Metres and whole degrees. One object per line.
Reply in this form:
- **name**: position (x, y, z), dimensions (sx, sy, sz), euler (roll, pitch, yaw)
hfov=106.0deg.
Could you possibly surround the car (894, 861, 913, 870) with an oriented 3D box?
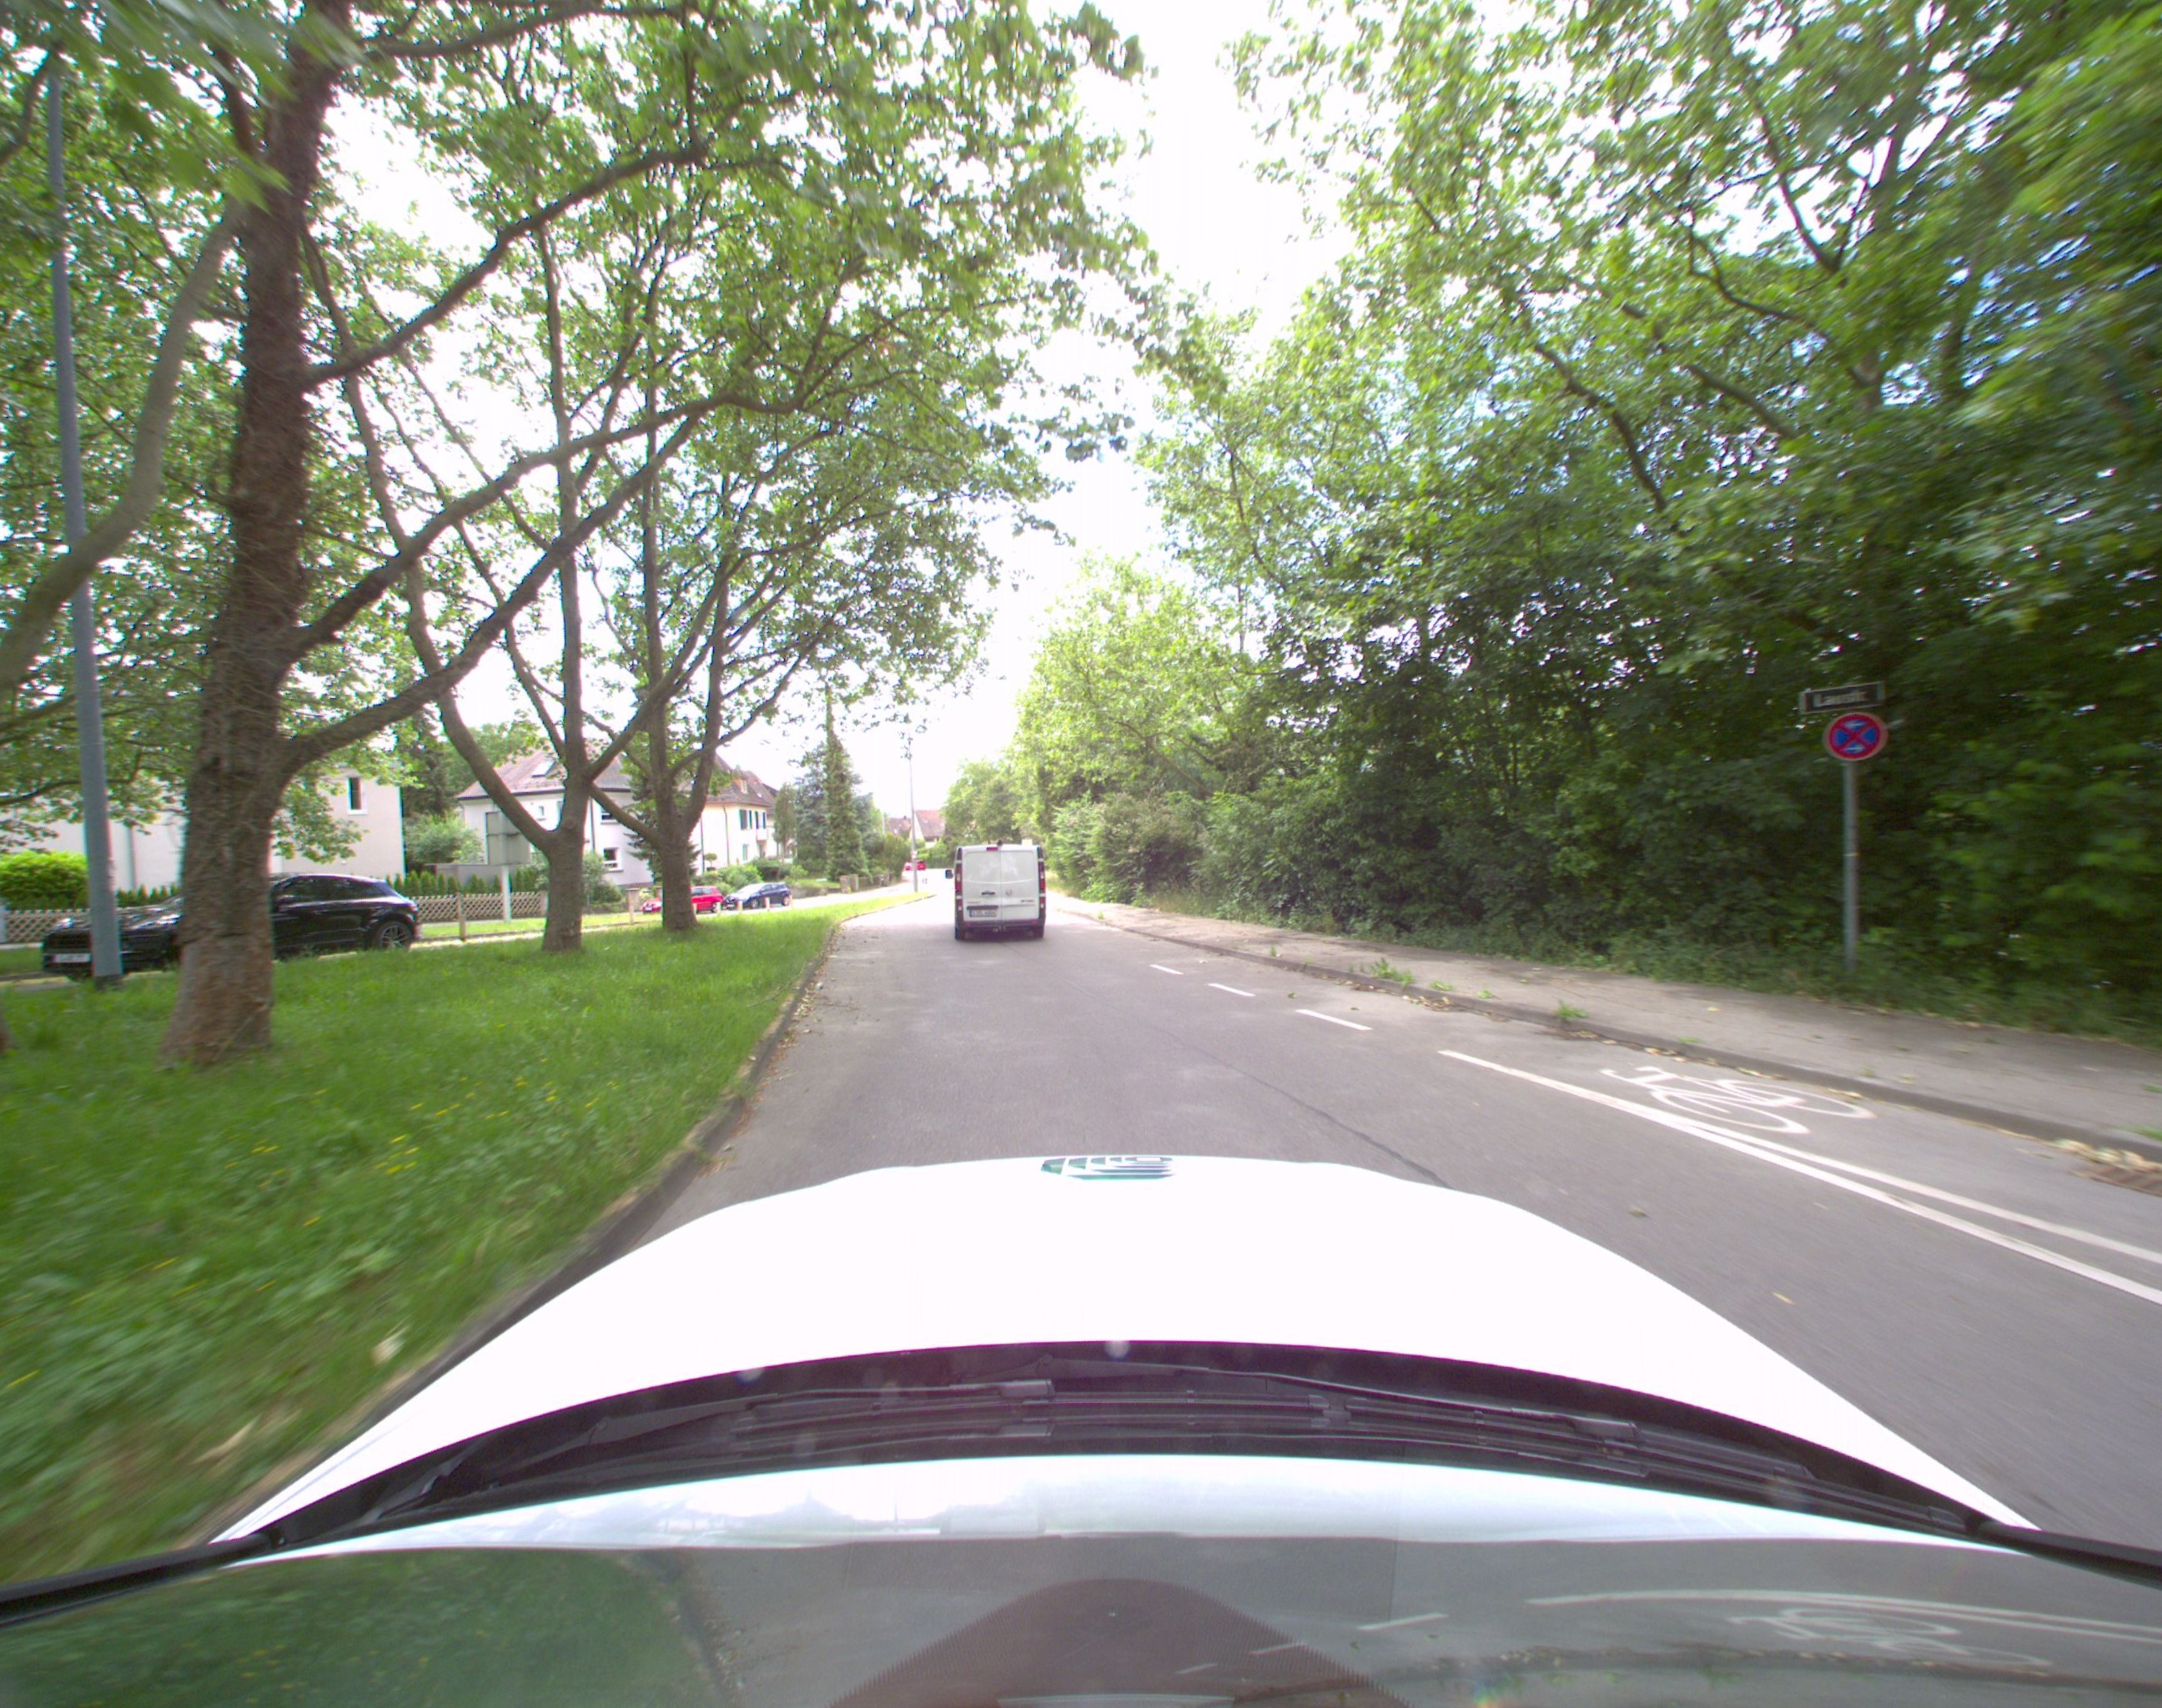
- **car**: position (-30.596, 1.986, 140.100), dimensions (1.725, 1.467, 4.222), euler (-3, 0, -34)

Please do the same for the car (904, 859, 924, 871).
- **car**: position (-27.832, 1.814, 135.577), dimensions (1.772, 1.797, 4.900), euler (-3, 0, -30)

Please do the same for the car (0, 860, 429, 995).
- **car**: position (-13.369, 0.995, 13.130), dimensions (1.750, 1.591, 4.618), euler (-2, 1, 3)

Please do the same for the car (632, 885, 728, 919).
- **car**: position (-20.882, 2.479, 42.599), dimensions (1.711, 1.474, 4.303), euler (-3, 0, 24)

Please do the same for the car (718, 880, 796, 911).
- **car**: position (-18.641, 2.367, 47.096), dimensions (1.713, 1.474, 4.336), euler (-3, 0, 19)

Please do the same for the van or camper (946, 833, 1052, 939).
- **van or camper**: position (-1.974, 0.553, 18.310), dimensions (1.925, 2.013, 4.812), euler (-2, 2, -11)
